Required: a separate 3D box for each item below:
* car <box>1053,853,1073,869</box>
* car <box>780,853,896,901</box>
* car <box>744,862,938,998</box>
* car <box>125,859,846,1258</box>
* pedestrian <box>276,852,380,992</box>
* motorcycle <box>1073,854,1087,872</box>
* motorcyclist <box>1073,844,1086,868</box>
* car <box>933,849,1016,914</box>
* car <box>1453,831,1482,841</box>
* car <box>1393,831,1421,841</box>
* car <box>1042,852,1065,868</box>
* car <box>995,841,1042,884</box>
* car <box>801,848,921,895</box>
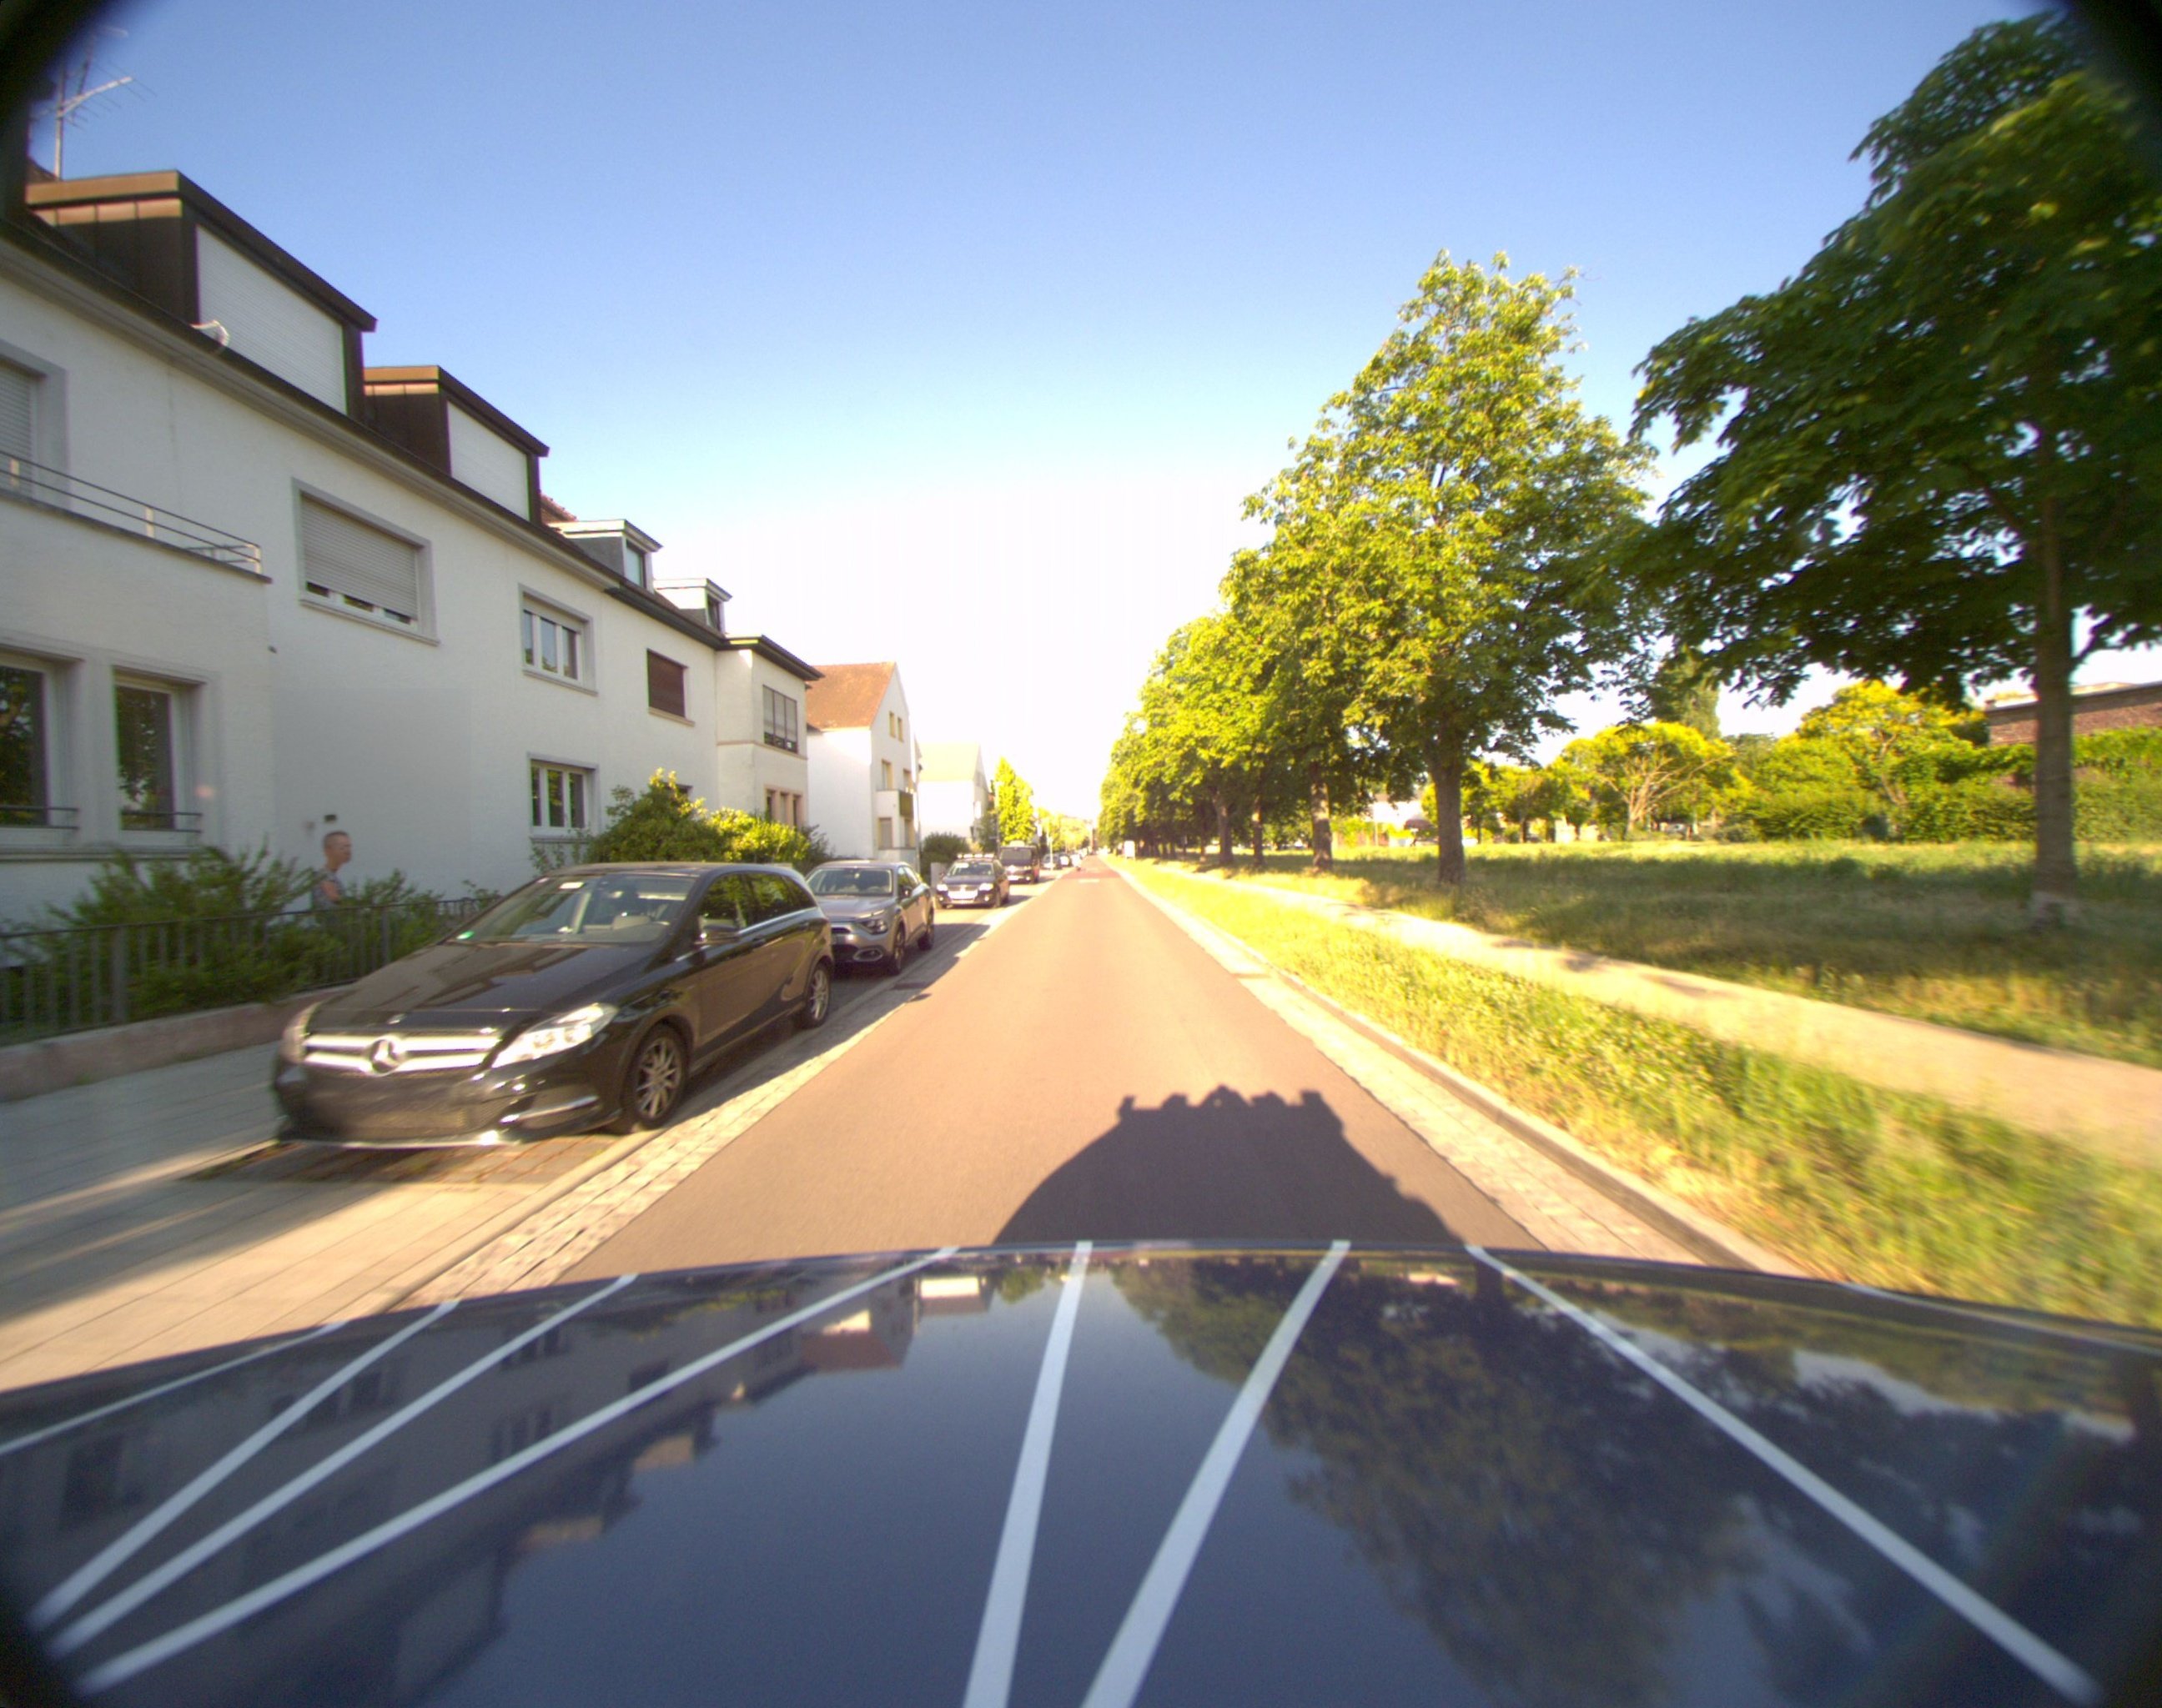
[{"bbox_3d":[-2.003,0.774,84.291,1.910,1.698,4.576,0,0,3],"label":"car"},{"bbox_3d":[-10.249,0.934,32.280,4.228,1.716,1.852,-3,1,-2],"label":"car"},{"bbox_3d":[-3.342,0.961,11.446,1.722,1.565,4.208,0,1,-2],"label":"car"},{"bbox_3d":[-3.394,0.951,5.664,1.837,1.675,4.414,1,1,1],"label":"car"},{"bbox_3d":[-8.896,0.781,8.985,0.595,1.569,0.631,-2,2,27],"label":"pedestrian"},{"bbox_3d":[-0.076,0.754,65.087,1.077,1.373,2.463,-3,1,0],"label":"motorcycle"},{"bbox_3d":[-0.148,0.162,65.247,0.961,2.002,1.273,-3,1,0],"label":"motorcyclist"},{"bbox_3d":[-3.091,0.737,22.906,1.798,1.761,4.472,0,0,1],"label":"car"},{"bbox_3d":[59.350,-2.732,116.614,3.636,1.273,1.586,-3,1,2],"label":"car"},{"bbox_3d":[49.653,-2.747,115.809,3.636,1.273,1.586,-3,1,2],"label":"car"},{"bbox_3d":[-2.476,0.557,69.525,1.798,1.474,4.124,0,0,2],"label":"car"},{"bbox_3d":[-3.169,0.388,39.440,1.910,2.119,4.814,0,0,2],"label":"car"},{"bbox_3d":[-8.736,0.673,30.413,4.228,1.716,1.852,-1,1,-2],"label":"car"}]
